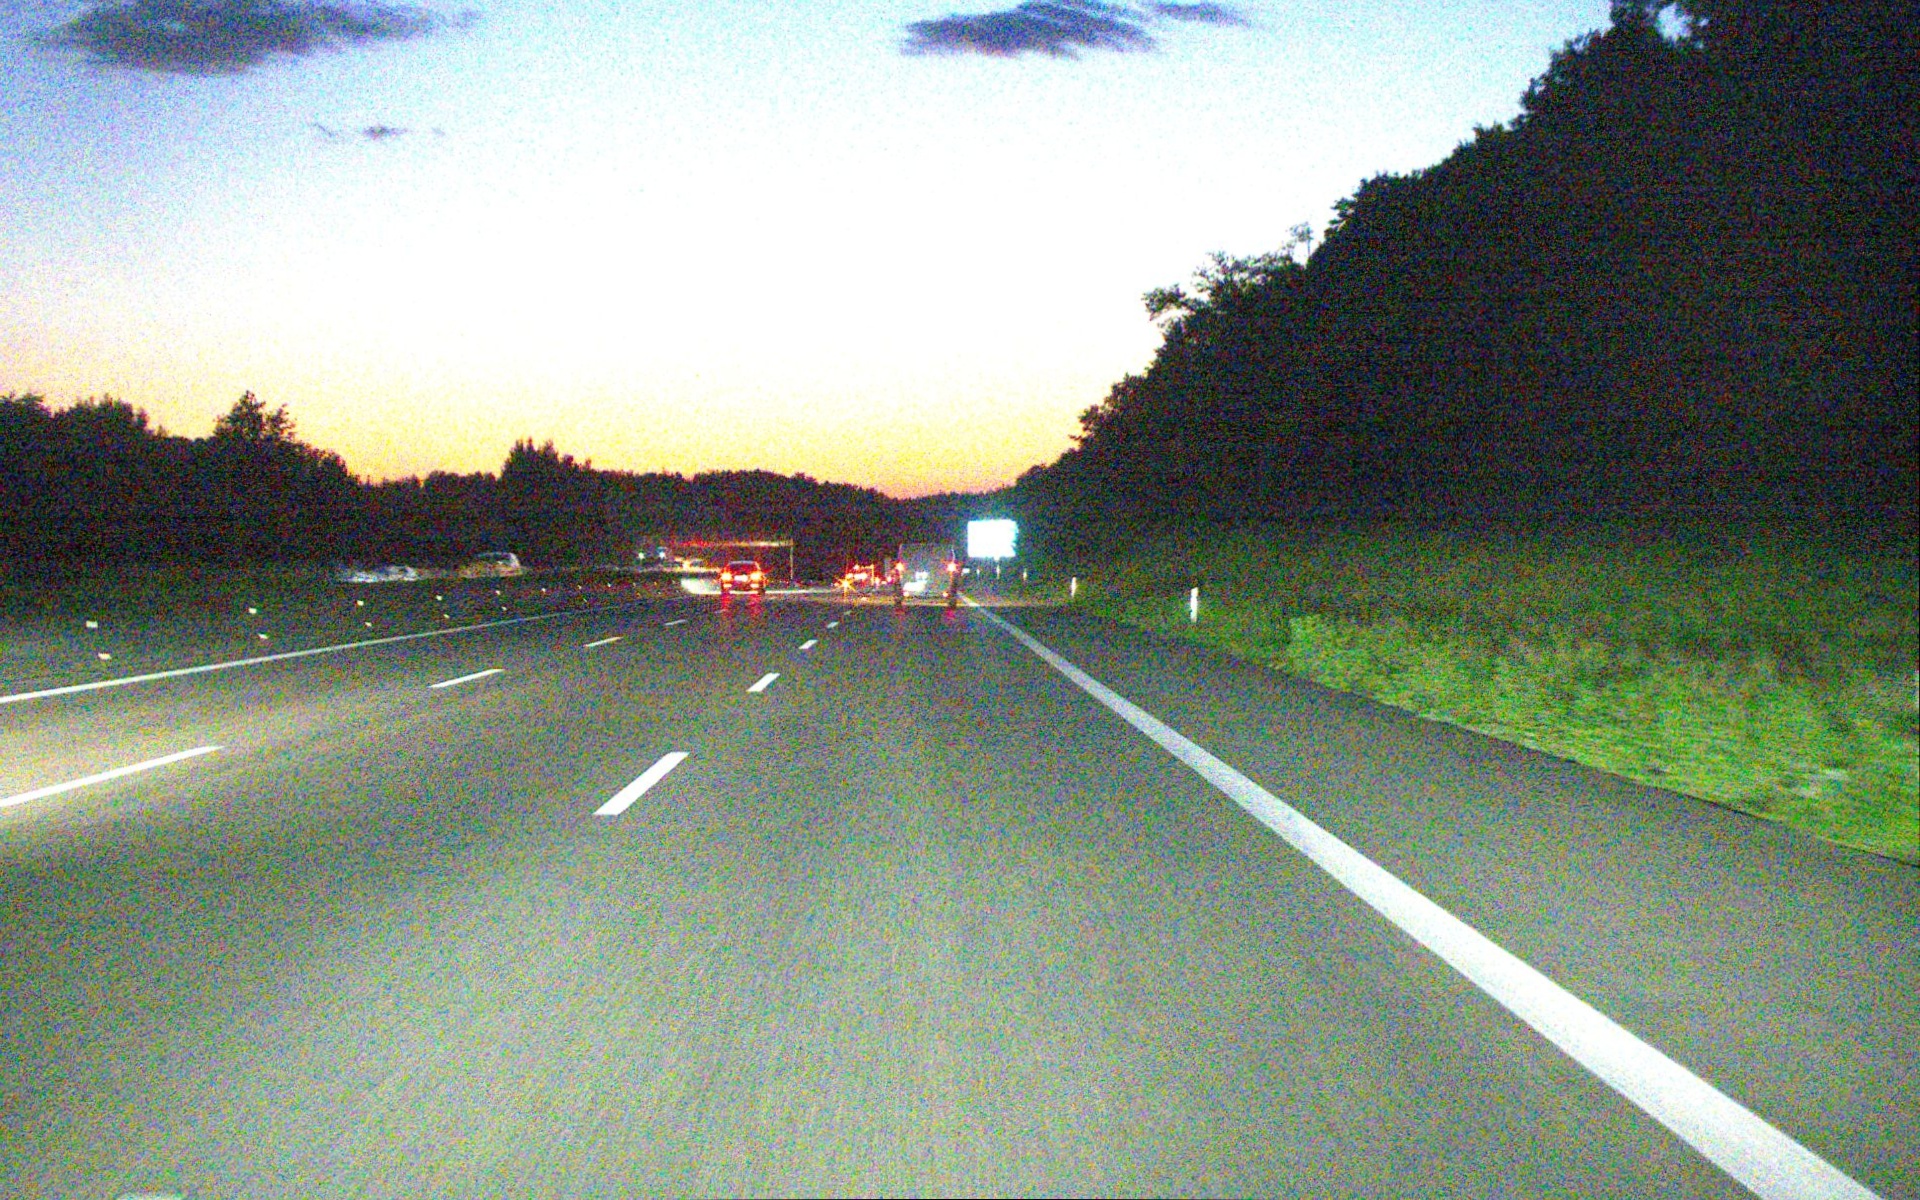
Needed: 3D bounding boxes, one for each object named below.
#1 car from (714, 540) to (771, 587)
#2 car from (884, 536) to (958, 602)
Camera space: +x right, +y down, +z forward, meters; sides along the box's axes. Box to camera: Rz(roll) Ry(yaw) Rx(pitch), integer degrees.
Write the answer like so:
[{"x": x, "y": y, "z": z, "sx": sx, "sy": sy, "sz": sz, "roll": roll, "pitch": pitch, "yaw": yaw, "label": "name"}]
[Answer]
[{"x": -9.229, "y": -1.581, "z": 146.112, "sx": 2.196, "sy": 1.949, "sz": 4.634, "roll": 1, "pitch": 1, "yaw": -1, "label": "car"}, {"x": -1.262, "y": -0.996, "z": 109.167, "sx": 2.196, "sy": 1.948, "sz": 4.763, "roll": -3, "pitch": 1, "yaw": -1, "label": "car"}]
